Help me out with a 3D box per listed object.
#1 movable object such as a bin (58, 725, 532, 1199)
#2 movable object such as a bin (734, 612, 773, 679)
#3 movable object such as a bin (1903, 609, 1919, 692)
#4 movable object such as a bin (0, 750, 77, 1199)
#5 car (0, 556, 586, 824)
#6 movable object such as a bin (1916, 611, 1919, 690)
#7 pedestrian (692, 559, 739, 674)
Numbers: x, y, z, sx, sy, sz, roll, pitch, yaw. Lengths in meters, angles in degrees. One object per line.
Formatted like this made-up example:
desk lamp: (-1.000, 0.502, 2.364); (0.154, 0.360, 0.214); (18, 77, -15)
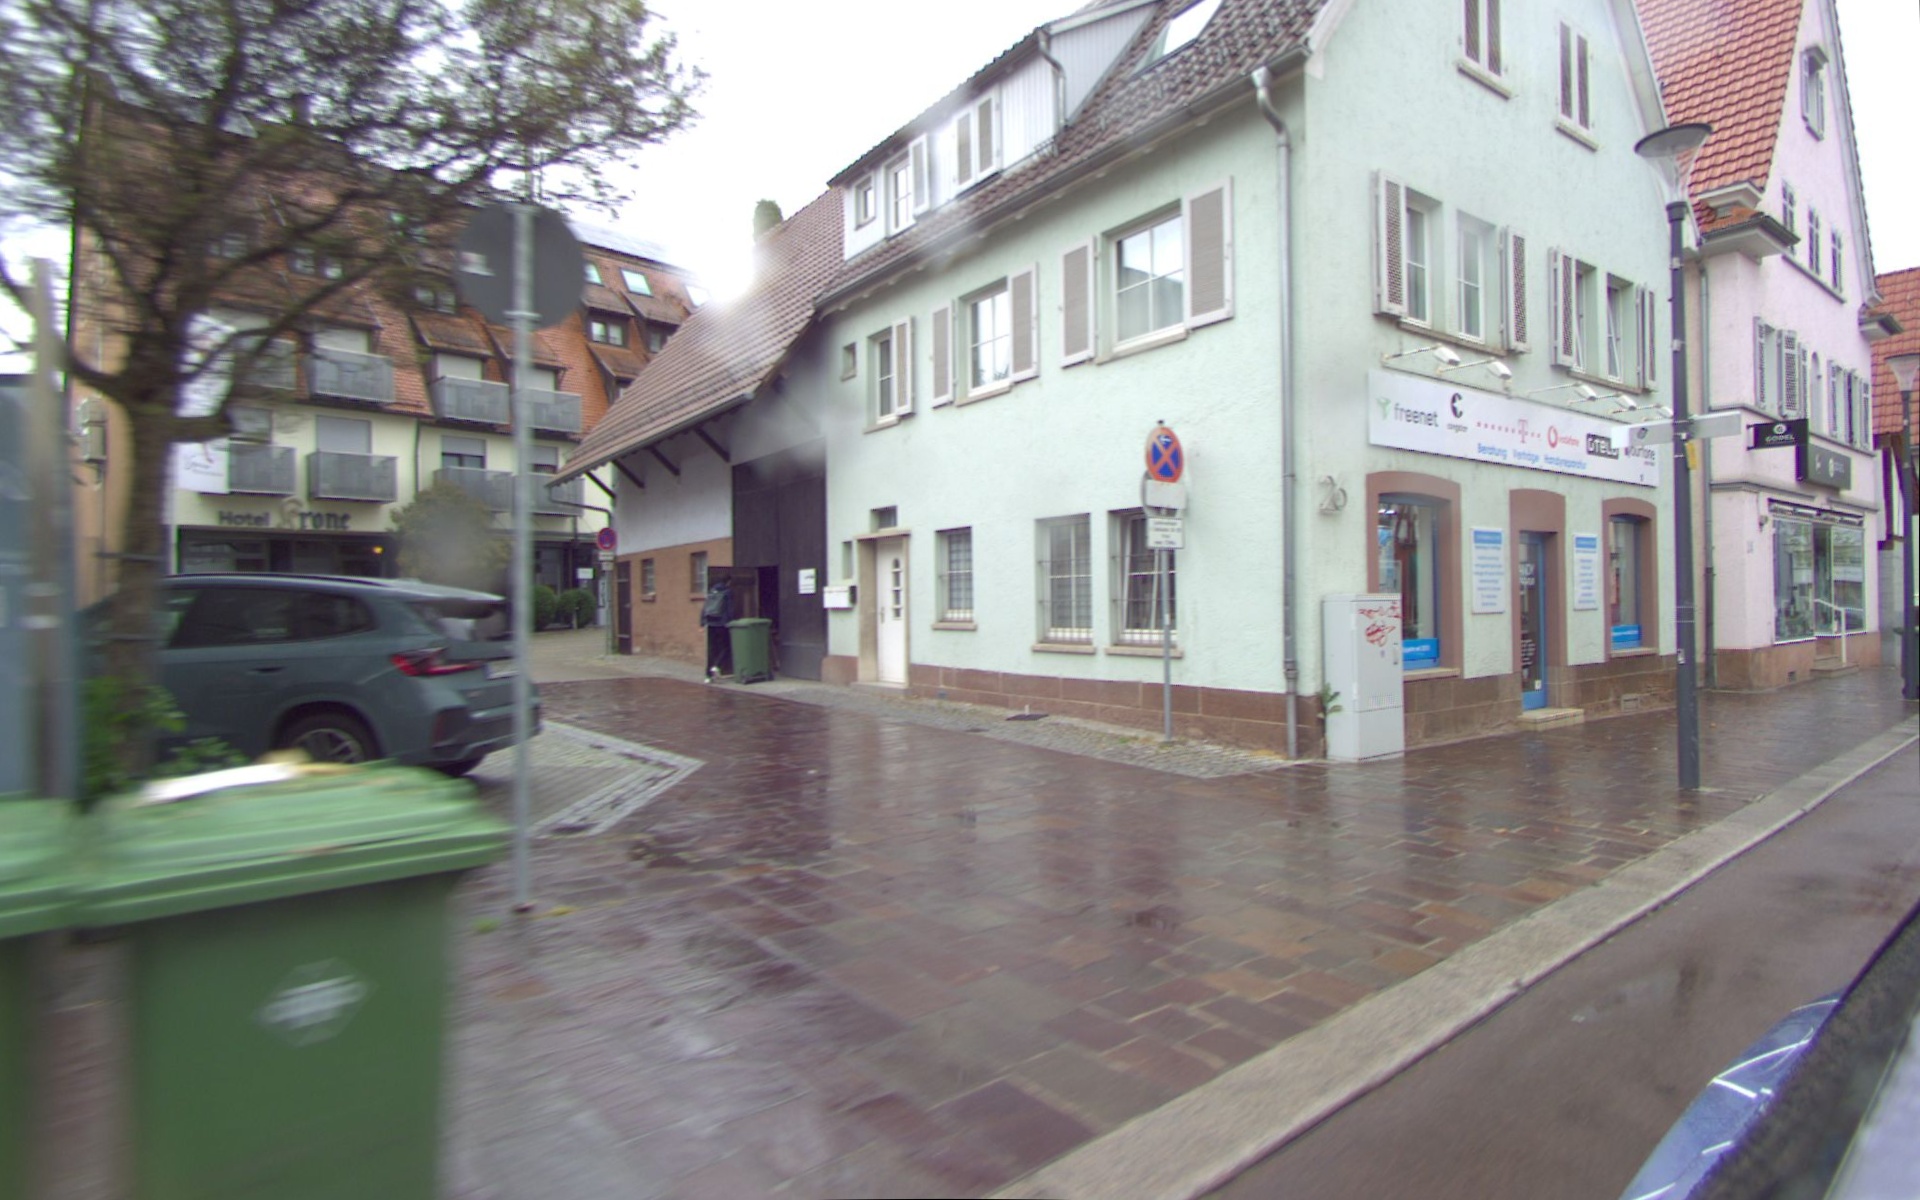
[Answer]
movable object such as a bin: (-1.194, 0.914, 1.826); (0.610, 1.254, 0.659); (-1, 0, -40)
movable object such as a bin: (-3.514, 0.768, 17.216); (0.534, 1.094, 0.568); (-1, 0, -25)
movable object such as a bin: (14.649, 0.755, 15.124); (0.568, 1.216, 0.720); (-1, 0, -38)
movable object such as a bin: (-1.624, 0.914, 1.442); (0.533, 1.261, 0.659); (-1, 0, -40)
car: (-5.284, 0.562, 7.585); (4.278, 1.676, 1.824); (1, 1, 1)
movable object such as a bin: (15.197, 0.775, 15.505); (0.563, 1.216, 0.720); (-1, 0, -38)
pedestrian: (-4.207, 0.279, 17.414); (0.565, 1.944, 0.509); (1, 0, 20)
